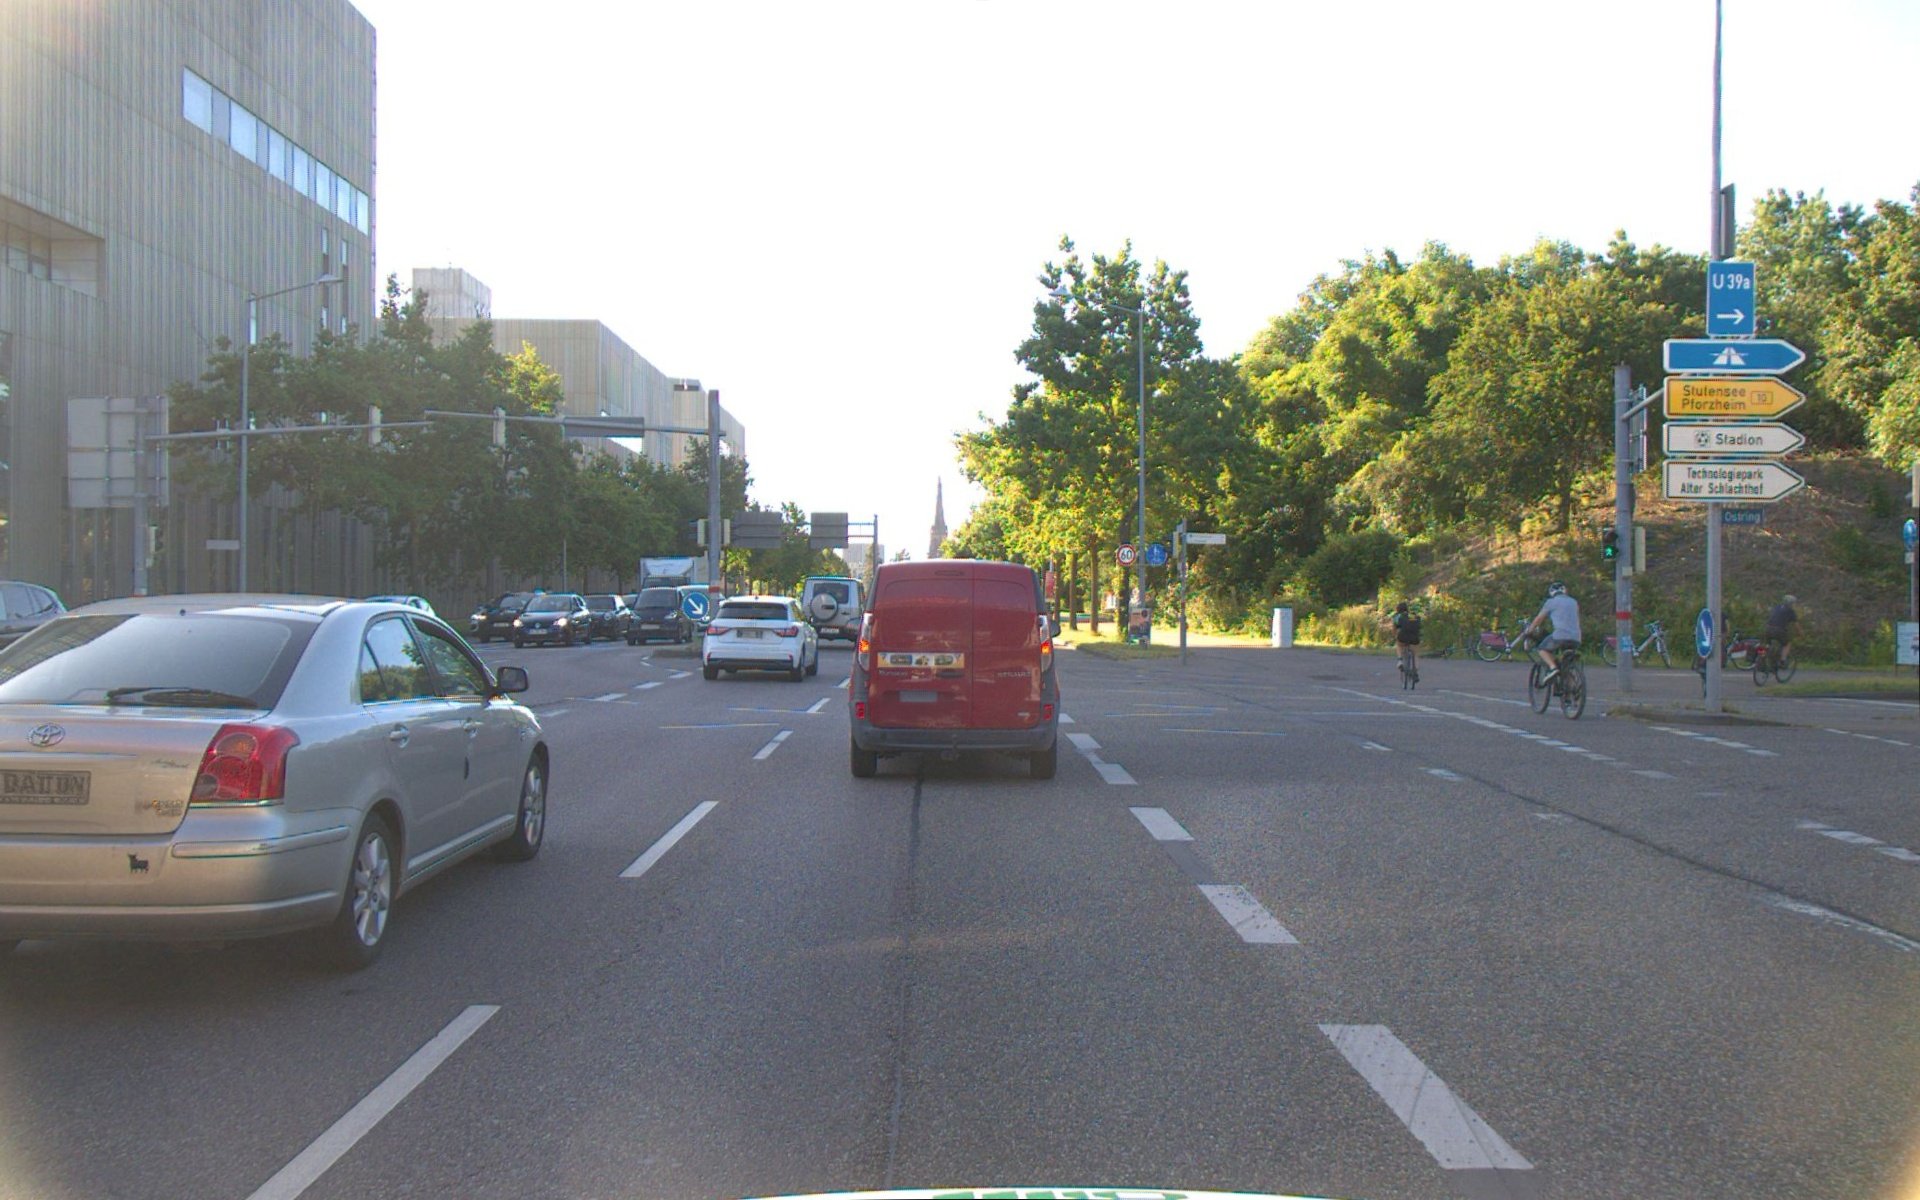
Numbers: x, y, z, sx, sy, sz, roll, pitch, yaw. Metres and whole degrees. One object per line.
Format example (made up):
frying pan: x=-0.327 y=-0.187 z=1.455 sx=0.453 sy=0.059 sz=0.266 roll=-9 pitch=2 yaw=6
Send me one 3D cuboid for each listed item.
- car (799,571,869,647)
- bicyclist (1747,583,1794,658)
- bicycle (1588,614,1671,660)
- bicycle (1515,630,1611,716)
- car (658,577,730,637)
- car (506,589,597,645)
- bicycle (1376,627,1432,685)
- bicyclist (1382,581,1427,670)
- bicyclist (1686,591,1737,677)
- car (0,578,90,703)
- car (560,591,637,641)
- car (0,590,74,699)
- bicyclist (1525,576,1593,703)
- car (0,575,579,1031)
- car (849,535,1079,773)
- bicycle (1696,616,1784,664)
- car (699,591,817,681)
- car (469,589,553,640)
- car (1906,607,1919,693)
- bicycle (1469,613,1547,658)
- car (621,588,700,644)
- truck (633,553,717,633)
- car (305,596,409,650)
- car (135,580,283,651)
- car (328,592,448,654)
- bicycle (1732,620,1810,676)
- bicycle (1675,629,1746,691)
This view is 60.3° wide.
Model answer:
car: x=-3.550 y=0.320 z=47.180 sx=1.765 sy=2.024 sz=4.586 roll=1 pitch=-2 yaw=-2
bicyclist: x=16.502 y=0.405 z=33.676 sx=0.611 sy=1.507 sz=0.643 roll=1 pitch=0 yaw=-35
bicycle: x=15.670 y=0.870 z=38.741 sx=1.708 sy=1.041 sz=0.594 roll=1 pitch=-2 yaw=7
bicycle: x=7.676 y=0.923 z=21.126 sx=0.579 sy=1.041 sz=1.750 roll=1 pitch=-2 yaw=0
car: x=-8.645 y=0.236 z=54.024 sx=1.721 sy=1.828 sz=4.081 roll=-2 pitch=-1 yaw=-1
car: x=-11.514 y=0.476 z=46.816 sx=1.603 sy=1.469 sz=4.075 roll=-2 pitch=-1 yaw=-1
bicycle: x=8.394 y=1.055 z=31.294 sx=0.579 sy=1.041 sz=1.750 roll=1 pitch=-2 yaw=0
bicyclist: x=8.392 y=0.492 z=31.243 sx=0.579 sy=1.642 sz=0.942 roll=1 pitch=-2 yaw=0
bicyclist: x=13.375 y=0.607 z=29.458 sx=0.650 sy=1.500 sz=0.751 roll=1 pitch=-2 yaw=10
car: x=-13.653 y=0.566 z=22.009 sx=1.788 sy=1.654 sz=4.528 roll=-2 pitch=-1 yaw=-1
car: x=-11.364 y=0.497 z=52.195 sx=1.603 sy=1.469 sz=4.075 roll=-2 pitch=-1 yaw=-2
car: x=-16.468 y=0.756 z=26.742 sx=1.787 sy=1.768 sz=4.628 roll=-2 pitch=-1 yaw=-1
bicyclist: x=7.657 y=0.508 z=21.152 sx=0.579 sy=1.576 sz=0.769 roll=1 pitch=-2 yaw=0
car: x=-3.112 y=0.692 z=7.656 sx=1.698 sy=1.506 sz=4.318 roll=1 pitch=-1 yaw=0
car: x=-0.039 y=0.483 z=14.986 sx=1.769 sy=1.826 sz=3.998 roll=1 pitch=-2 yaw=-2
bicycle: x=17.775 y=0.921 z=37.730 sx=1.707 sy=1.041 sz=0.594 roll=1 pitch=-2 yaw=9
car: x=-3.497 y=0.604 z=29.208 sx=1.777 sy=1.463 sz=3.728 roll=1 pitch=0 yaw=-3
car: x=-14.707 y=0.475 z=54.395 sx=1.613 sy=1.572 sz=4.397 roll=-2 pitch=-1 yaw=-1
car: x=19.260 y=0.926 z=28.843 sx=4.452 sy=1.540 sz=1.829 roll=1 pitch=-2 yaw=5
bicycle: x=13.251 y=0.868 z=40.024 sx=1.708 sy=1.041 sz=0.594 roll=1 pitch=-2 yaw=7
car: x=-8.489 y=0.447 z=47.074 sx=1.603 sy=1.469 sz=3.717 roll=-2 pitch=-1 yaw=-1
truck: x=-11.652 y=-0.237 z=68.081 sx=2.360 sy=3.080 sz=6.654 roll=-2 pitch=-1 yaw=-1
car: x=-17.304 y=0.651 z=47.607 sx=1.612 sy=1.459 sz=3.492 roll=-2 pitch=-1 yaw=1
car: x=-17.389 y=0.355 z=38.475 sx=1.613 sy=1.508 sz=3.977 roll=-2 pitch=-1 yaw=0
car: x=-14.269 y=0.569 z=41.456 sx=1.613 sy=1.429 sz=3.977 roll=-2 pitch=-1 yaw=0
bicycle: x=16.539 y=0.965 z=33.713 sx=1.731 sy=1.041 sz=0.661 roll=-3 pitch=1 yaw=-36
bicycle: x=13.398 y=1.069 z=29.582 sx=0.657 sy=1.041 sz=2.057 roll=1 pitch=-2 yaw=10
